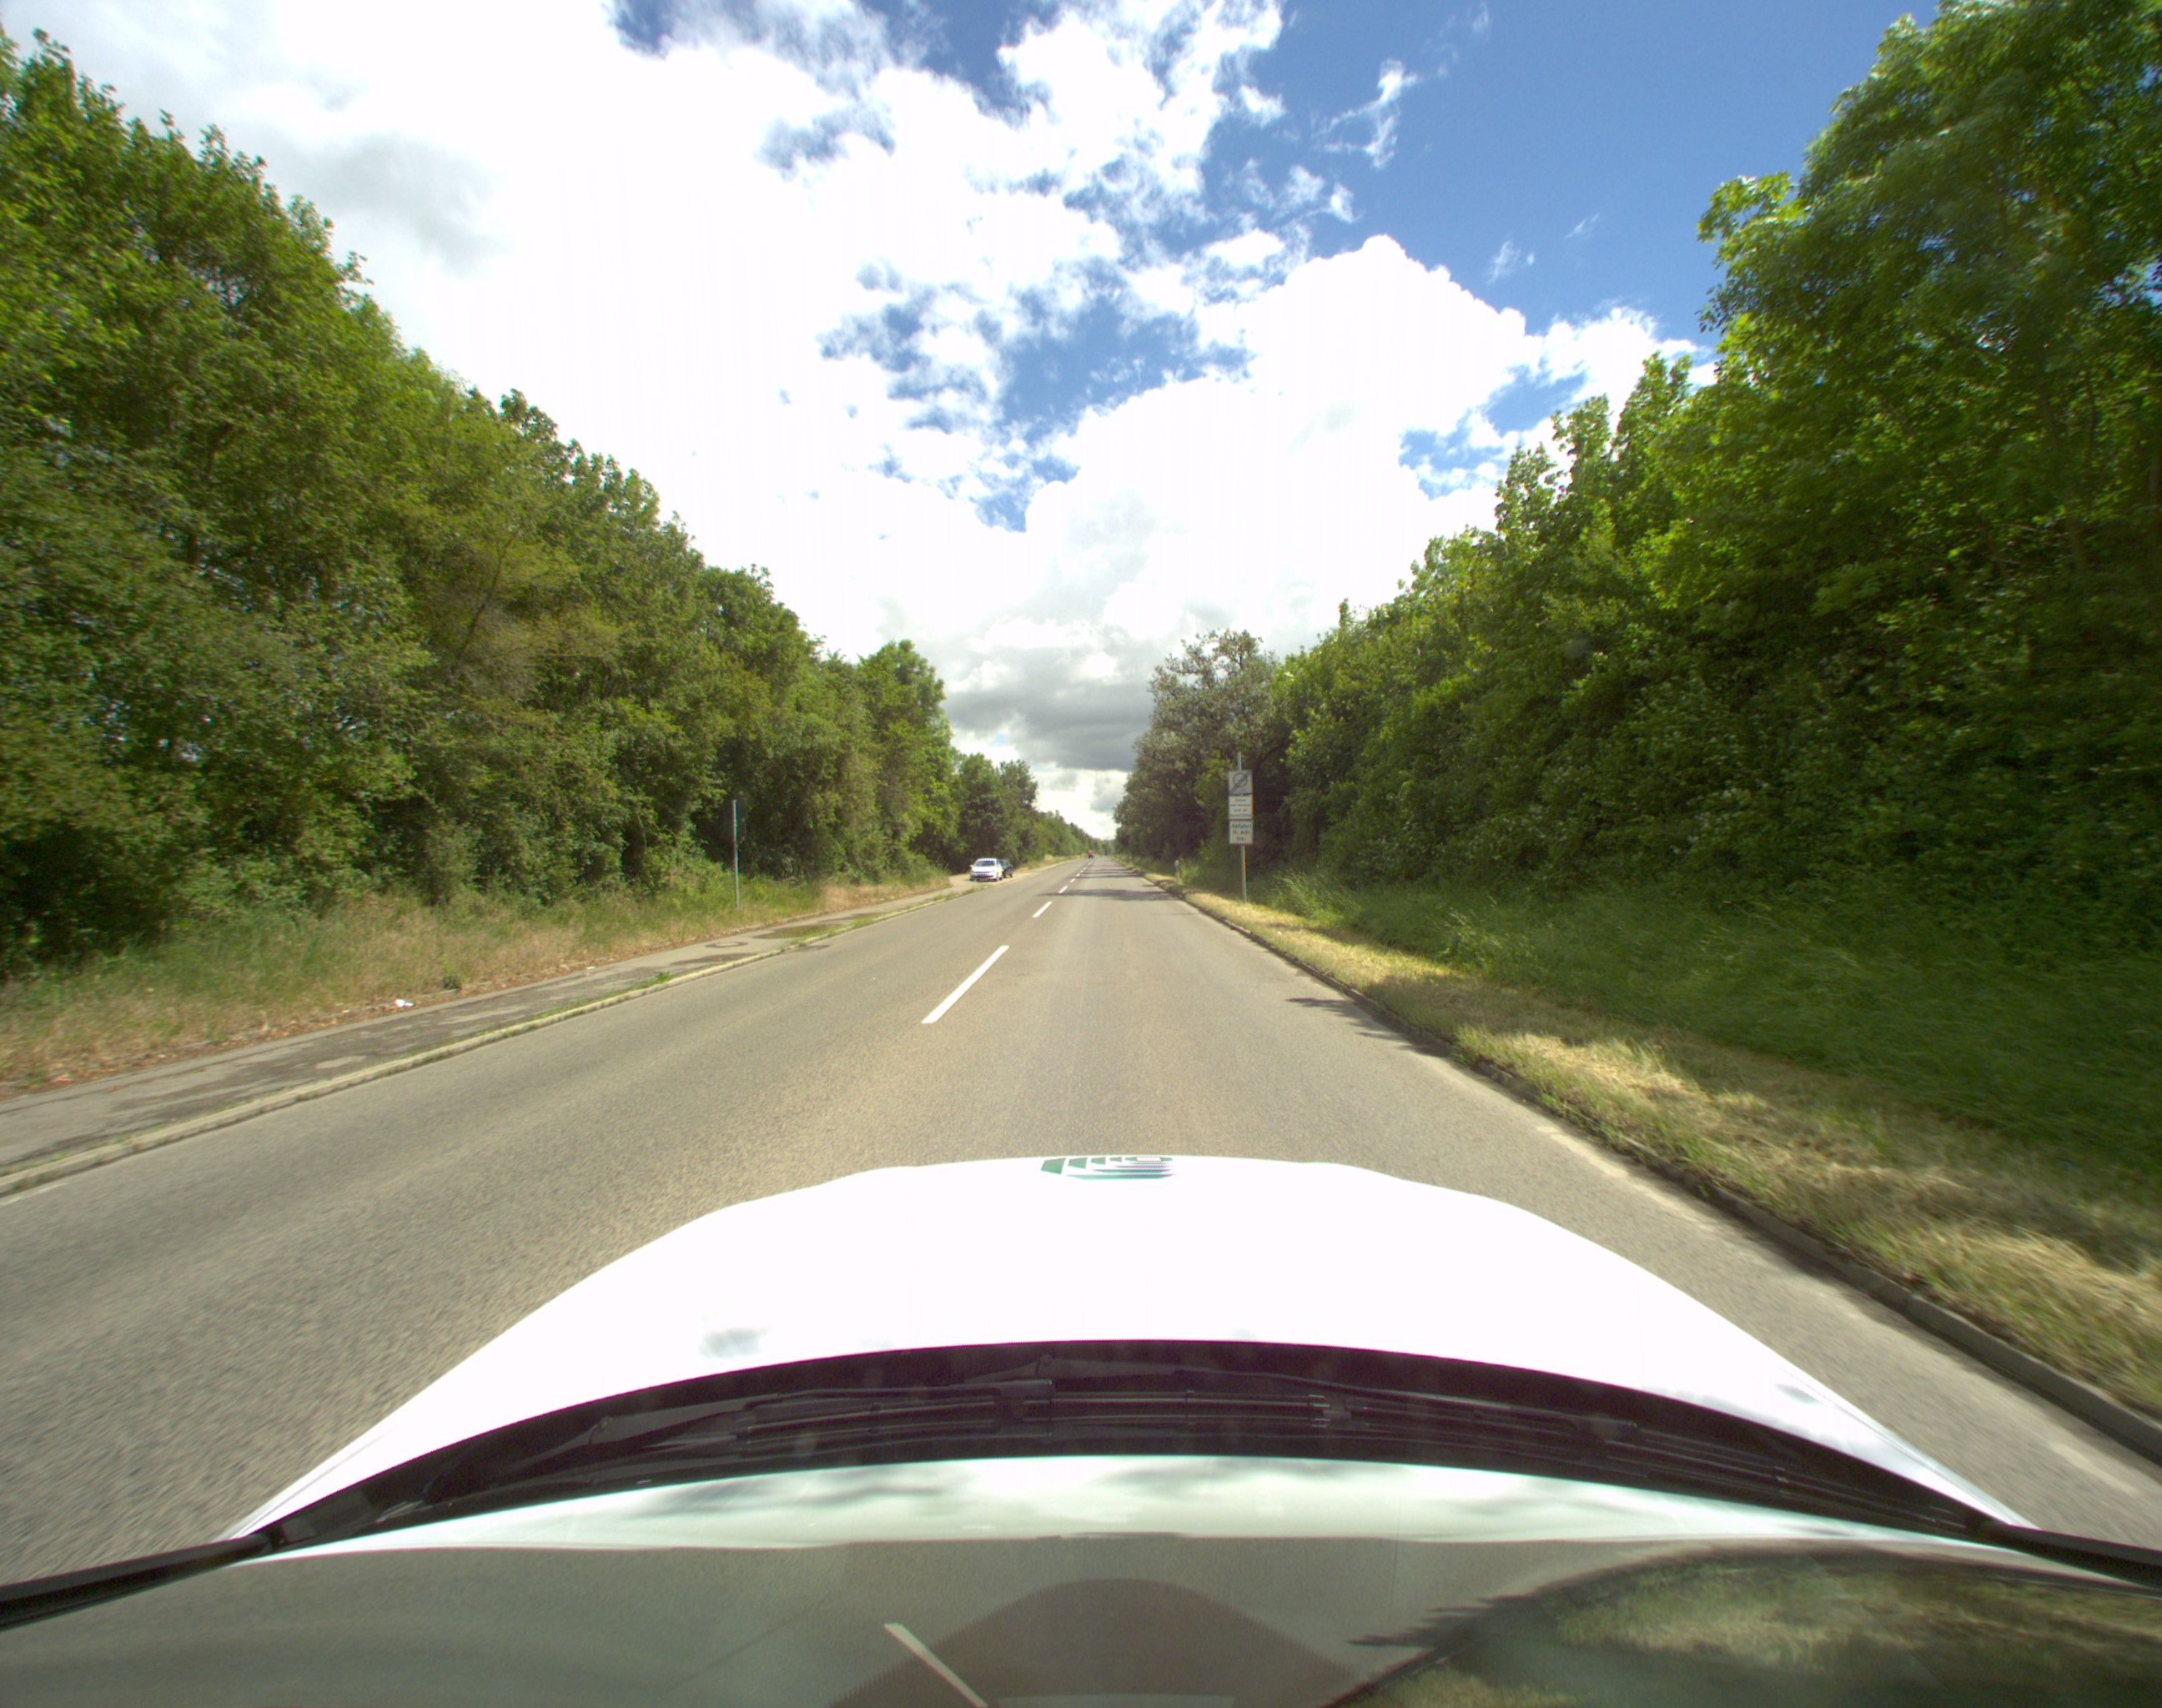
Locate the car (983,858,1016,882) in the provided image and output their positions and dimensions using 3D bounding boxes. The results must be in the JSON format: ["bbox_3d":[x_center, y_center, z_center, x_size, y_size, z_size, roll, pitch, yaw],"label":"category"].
[{"bbox_3d":[-6.040,1.159,60.928,1.791,1.625,3.958,-2,1,3],"label":"car"}]

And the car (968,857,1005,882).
[{"bbox_3d":[-6.131,1.016,53.356,1.791,1.543,3.955,-2,-1,1],"label":"car"}]
